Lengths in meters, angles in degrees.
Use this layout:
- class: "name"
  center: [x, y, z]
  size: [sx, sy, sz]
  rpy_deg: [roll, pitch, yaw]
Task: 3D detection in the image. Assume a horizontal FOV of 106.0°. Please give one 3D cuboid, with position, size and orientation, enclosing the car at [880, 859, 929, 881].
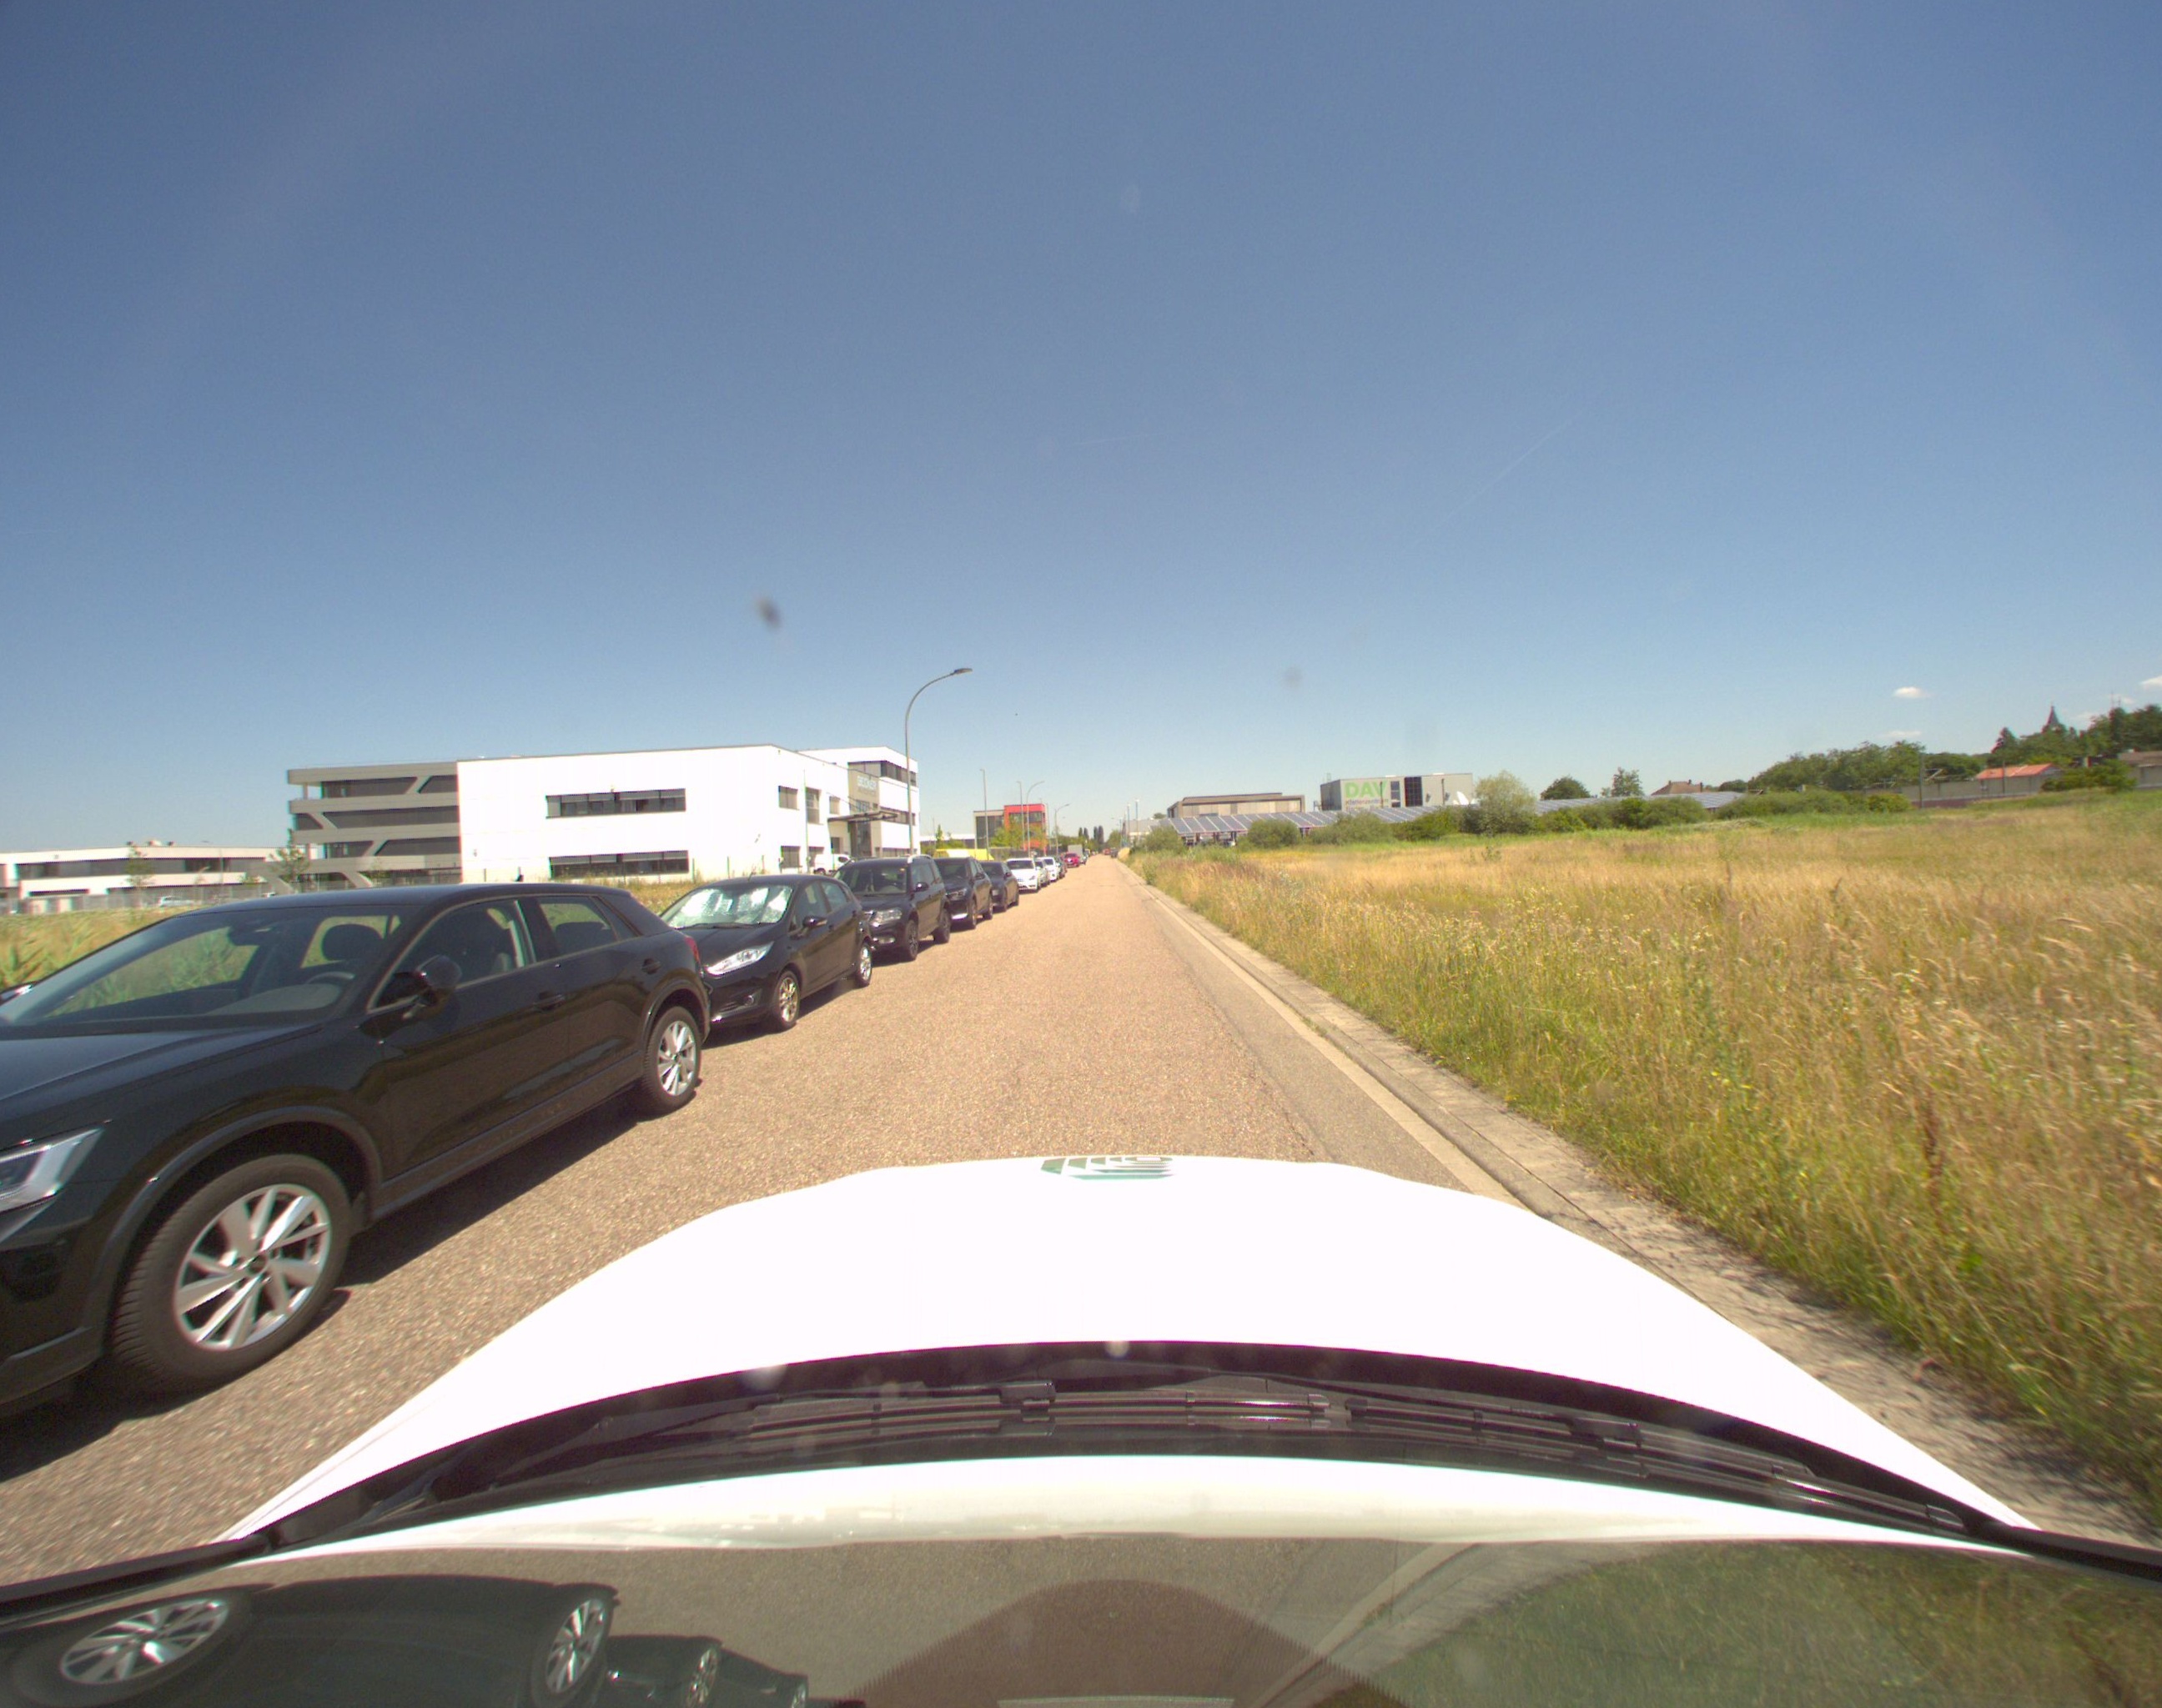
- class: "car"
  center: [-18.380, 1.672, 84.907]
  size: [4.511, 1.943, 2.032]
  rpy_deg: [-3, 0, 1]

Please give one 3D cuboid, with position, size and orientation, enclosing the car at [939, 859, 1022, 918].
- class: "car"
  center: [-2.998, 0.984, 25.354]
  size: [1.762, 1.486, 5.016]
  rpy_deg: [-3, 0, 2]

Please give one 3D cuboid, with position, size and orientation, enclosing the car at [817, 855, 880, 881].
- class: "car"
  center: [-19.154, 1.138, 67.160]
  size: [4.511, 1.943, 2.032]
  rpy_deg: [-3, 0, 1]

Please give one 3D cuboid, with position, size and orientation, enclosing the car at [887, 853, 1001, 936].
- class: "car"
  center: [-3.152, 0.850, 19.636]
  size: [1.762, 1.663, 4.554]
  rpy_deg: [-3, 0, 2]

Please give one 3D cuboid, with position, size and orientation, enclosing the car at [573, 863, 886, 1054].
- class: "car"
  center: [-3.465, 0.913, 8.887]
  size: [1.584, 1.492, 3.834]
  rpy_deg: [-3, 0, 2]

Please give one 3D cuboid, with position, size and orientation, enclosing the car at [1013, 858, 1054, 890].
- class: "car"
  center: [-2.479, 1.015, 43.408]
  size: [1.780, 1.520, 3.984]
  rpy_deg: [-3, 0, 1]

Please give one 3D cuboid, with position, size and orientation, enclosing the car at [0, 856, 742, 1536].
- class: "car"
  center: [-3.508, 0.859, 3.876]
  size: [1.920, 1.567, 4.190]
  rpy_deg: [-3, 0, 0]

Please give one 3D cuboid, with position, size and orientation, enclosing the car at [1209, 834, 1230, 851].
- class: "car"
  center: [17.853, -1.492, 104.861]
  size: [1.986, 2.013, 4.001]
  rpy_deg: [-3, 0, 1]

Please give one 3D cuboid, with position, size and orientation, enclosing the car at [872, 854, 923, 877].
- class: "car"
  center: [-18.484, 1.145, 82.037]
  size: [4.511, 1.943, 2.032]
  rpy_deg: [-3, 0, 1]

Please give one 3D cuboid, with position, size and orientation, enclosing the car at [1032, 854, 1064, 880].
- class: "car"
  center: [-2.135, 0.844, 54.232]
  size: [1.780, 1.520, 3.984]
  rpy_deg: [-3, 0, 1]

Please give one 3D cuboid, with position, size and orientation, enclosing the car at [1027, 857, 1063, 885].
- class: "car"
  center: [-2.131, 0.978, 49.045]
  size: [1.780, 1.520, 3.984]
  rpy_deg: [-3, 0, 1]

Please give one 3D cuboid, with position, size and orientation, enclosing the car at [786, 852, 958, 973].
- class: "car"
  center: [-3.362, 0.849, 13.978]
  size: [1.671, 1.663, 4.238]
  rpy_deg: [-3, 0, 2]

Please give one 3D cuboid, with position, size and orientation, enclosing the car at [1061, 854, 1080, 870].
- class: "car"
  center: [-1.084, 0.824, 85.881]
  size: [1.780, 1.520, 3.984]
  rpy_deg: [-3, 0, 1]

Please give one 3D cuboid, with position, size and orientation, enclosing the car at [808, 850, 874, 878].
- class: "car"
  center: [-19.002, 0.813, 64.573]
  size: [4.511, 1.943, 2.032]
  rpy_deg: [-3, 0, 1]

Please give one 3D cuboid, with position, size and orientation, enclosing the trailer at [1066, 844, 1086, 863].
- class: "trailer"
  center: [-0.562, -0.018, 97.583]
  size: [2.193, 2.137, 4.287]
  rpy_deg: [-3, 0, 1]

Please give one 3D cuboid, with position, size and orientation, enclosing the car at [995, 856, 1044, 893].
- class: "car"
  center: [-2.764, 0.891, 37.401]
  size: [1.780, 1.520, 3.984]
  rpy_deg: [-3, 0, 1]
